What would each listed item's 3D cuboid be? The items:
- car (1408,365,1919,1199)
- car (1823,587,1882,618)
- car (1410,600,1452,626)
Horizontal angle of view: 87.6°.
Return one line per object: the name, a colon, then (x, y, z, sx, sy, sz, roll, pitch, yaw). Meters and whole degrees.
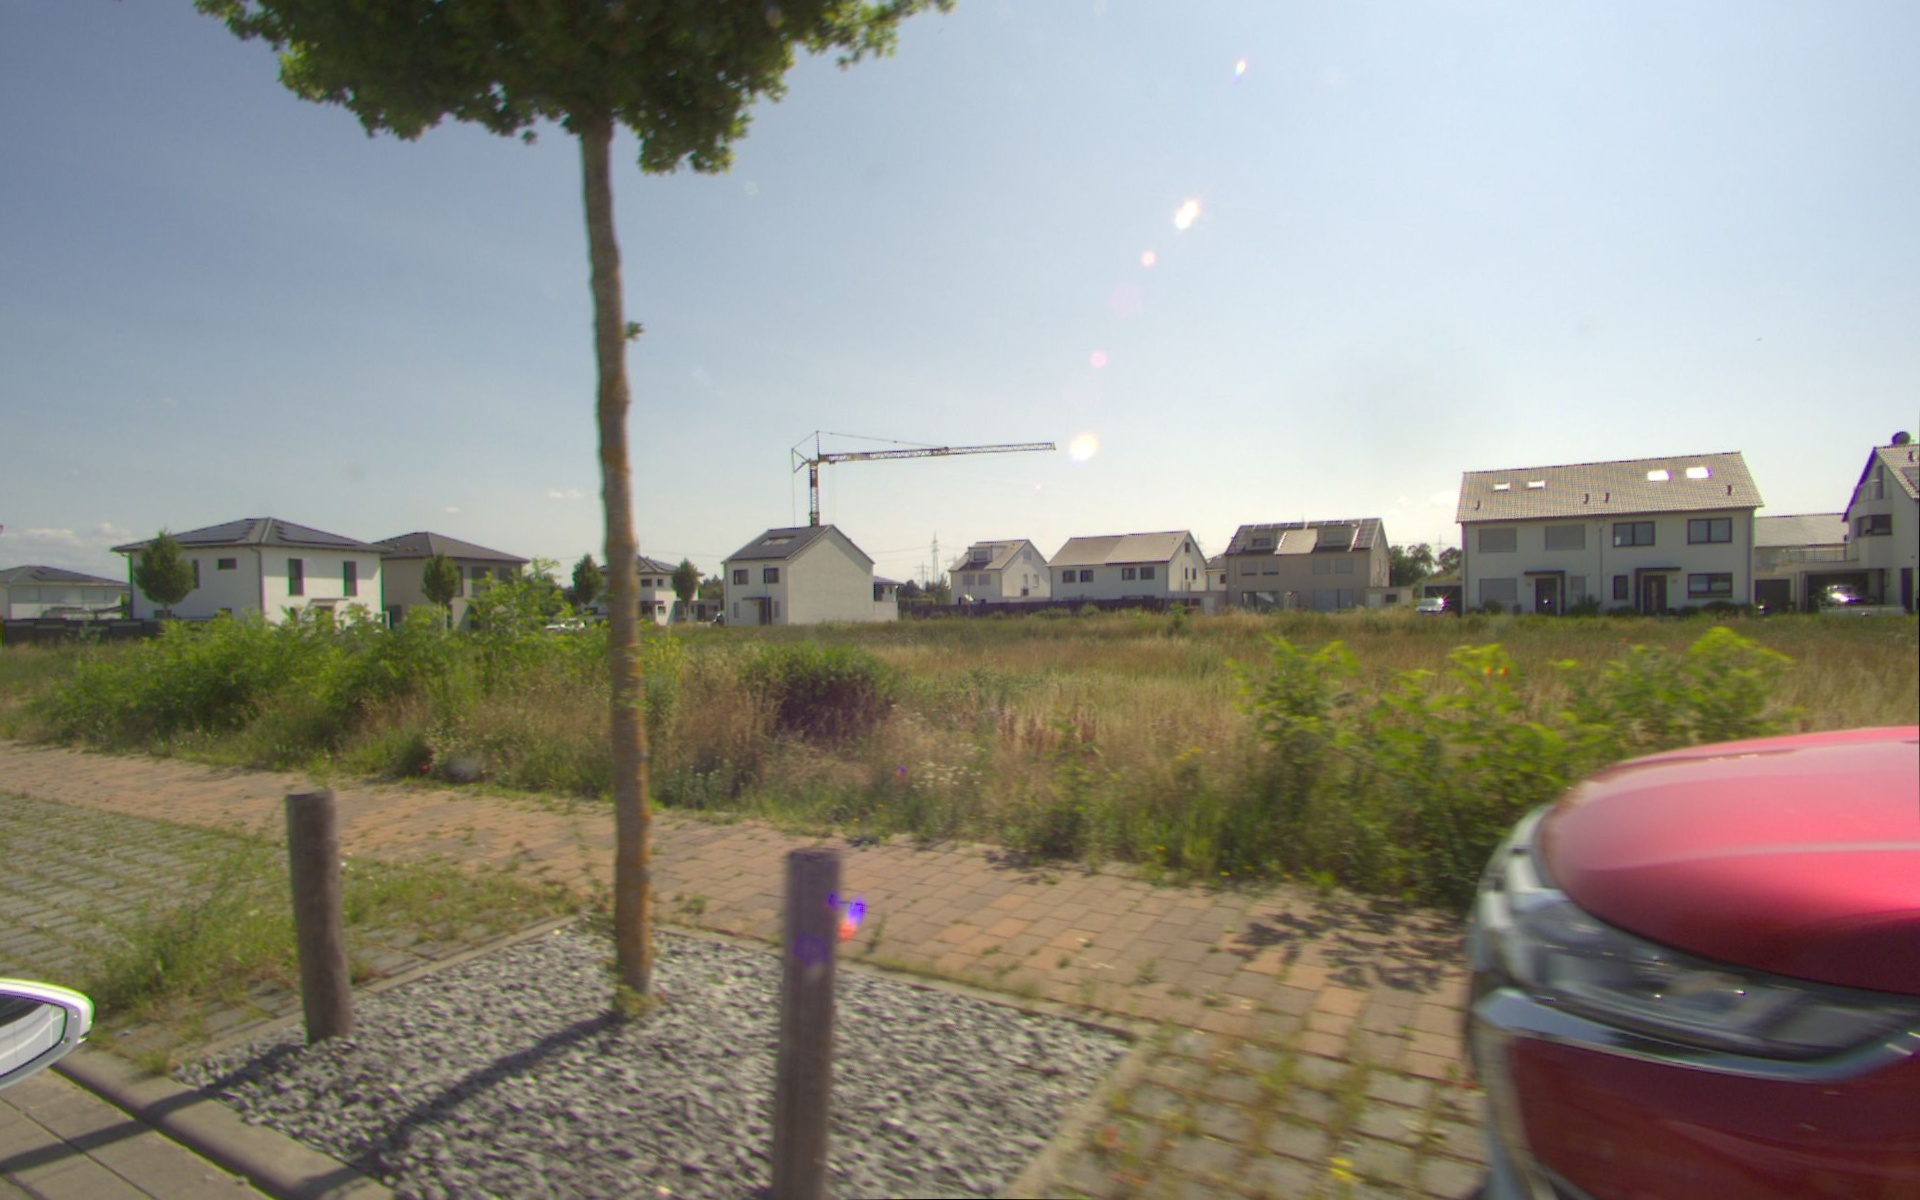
car: (2.987, 0.531, 1.144, 4.368, 1.686, 1.773, -1, 1, 30)
car: (46.928, 0.150, 52.741, 1.790, 1.532, 3.976, -1, 0, 34)
car: (30.065, 0.836, 63.852, 1.790, 1.594, 3.976, -1, 0, 34)
